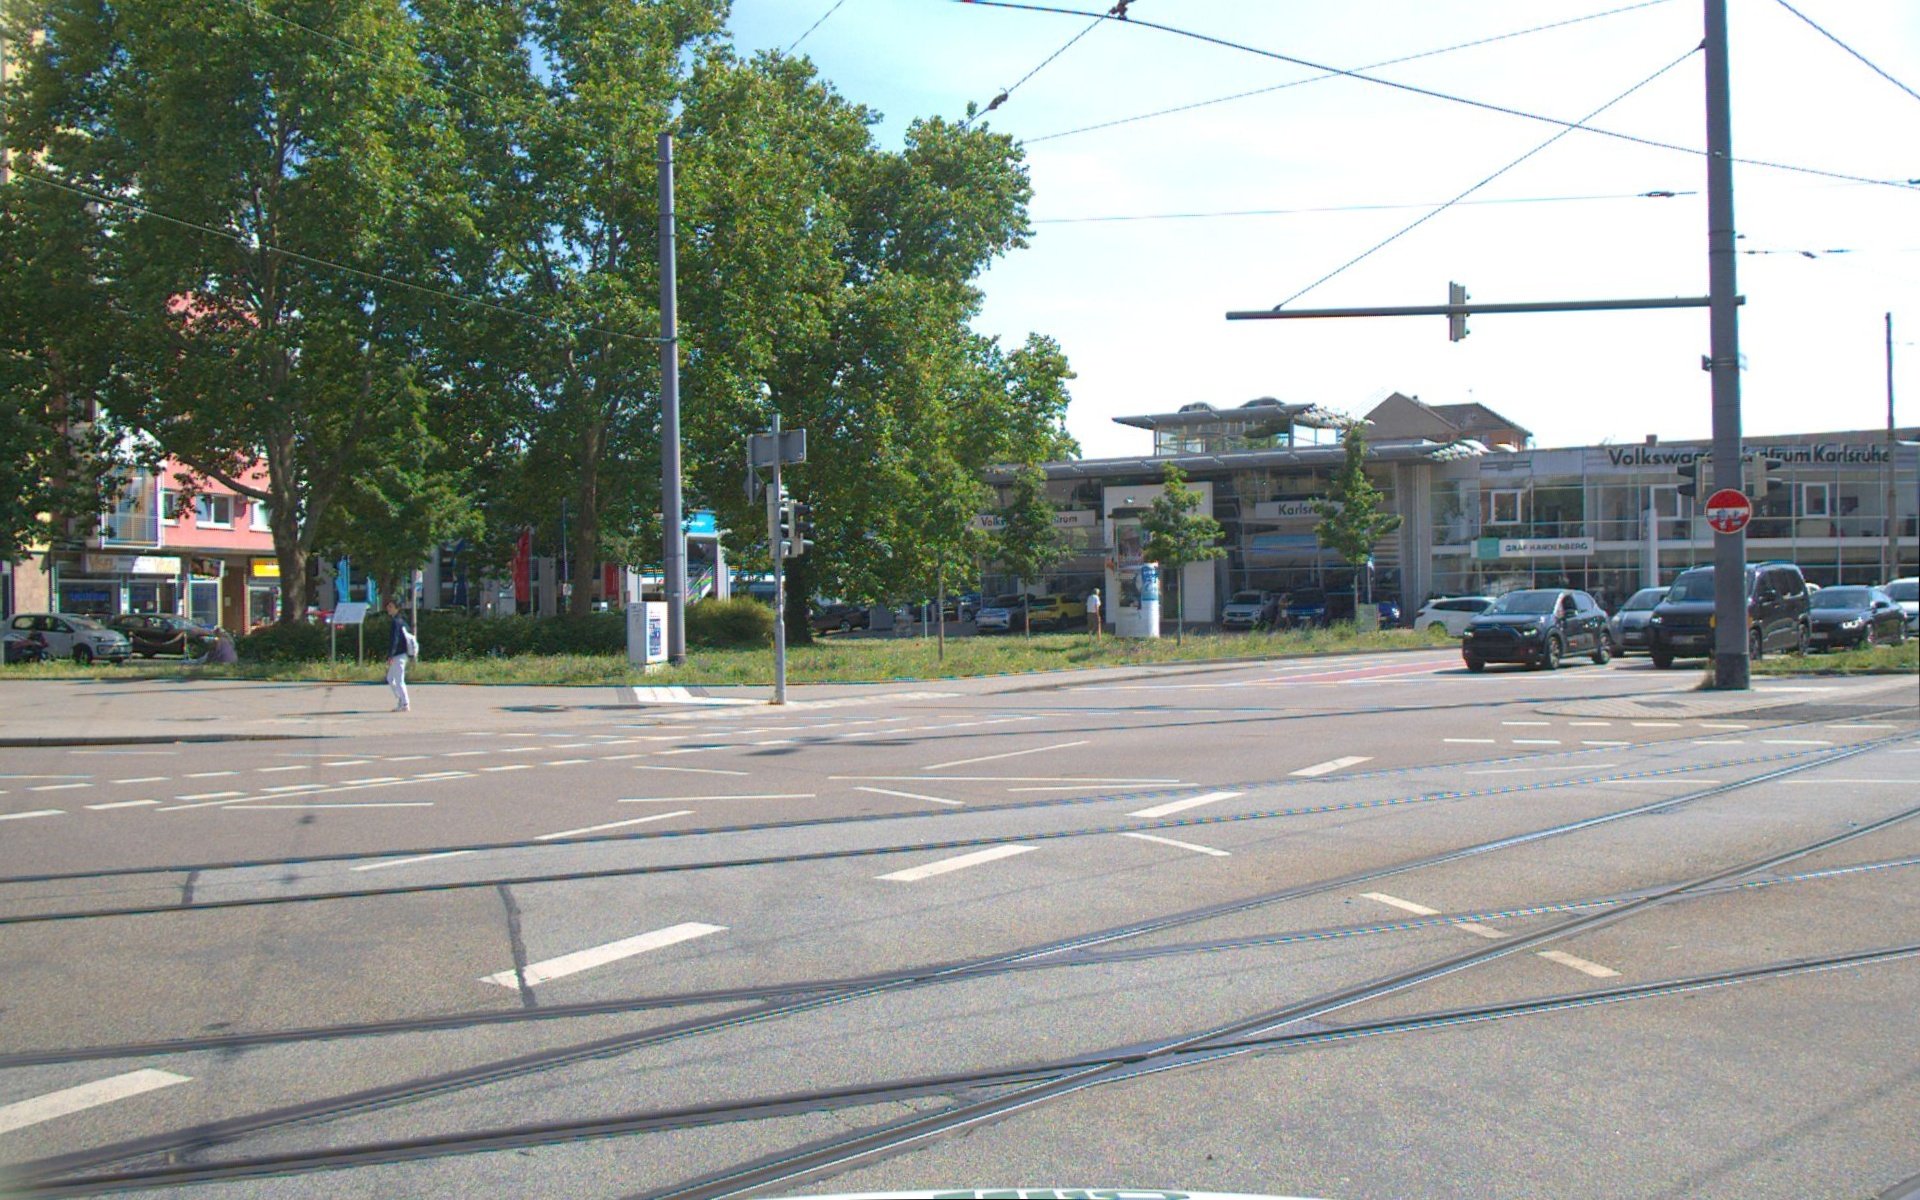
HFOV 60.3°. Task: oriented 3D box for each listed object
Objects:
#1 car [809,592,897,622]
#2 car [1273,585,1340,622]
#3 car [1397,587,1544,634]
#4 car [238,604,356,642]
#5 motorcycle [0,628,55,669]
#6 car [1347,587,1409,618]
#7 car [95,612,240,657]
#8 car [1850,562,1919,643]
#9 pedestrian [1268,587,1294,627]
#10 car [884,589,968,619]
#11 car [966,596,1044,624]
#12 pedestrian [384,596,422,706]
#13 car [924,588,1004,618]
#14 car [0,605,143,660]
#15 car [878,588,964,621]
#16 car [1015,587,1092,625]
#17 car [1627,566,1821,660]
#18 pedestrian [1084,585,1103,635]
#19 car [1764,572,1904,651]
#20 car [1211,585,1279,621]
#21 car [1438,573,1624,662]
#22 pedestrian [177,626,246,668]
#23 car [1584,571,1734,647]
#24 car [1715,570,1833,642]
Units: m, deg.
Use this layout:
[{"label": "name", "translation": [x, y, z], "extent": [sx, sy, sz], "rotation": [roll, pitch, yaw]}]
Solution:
[{"label": "car", "translation": [-5.344, 0.343, 82.807], "extent": [3.909, 1.395, 1.998], "rotation": [1, 1, 26]}, {"label": "car", "translation": [14.889, 0.127, 70.882], "extent": [1.954, 1.512, 3.997], "rotation": [1, 1, 25]}, {"label": "car", "translation": [17.074, 0.330, 55.427], "extent": [4.515, 1.461, 1.436], "rotation": [2, 1, 41]}, {"label": "car", "translation": [-24.430, 0.831, 60.979], "extent": [3.643, 1.363, 1.745], "rotation": [0, 0, 10]}, {"label": "motorcycle", "translation": [-21.315, 1.094, 36.844], "extent": [2.010, 0.856, 0.634], "rotation": [-1, 0, -30]}, {"label": "car", "translation": [17.505, 0.076, 69.109], "extent": [1.794, 1.216, 3.997], "rotation": [2, 1, 25]}, {"label": "car", "translation": [-25.383, 1.089, 53.014], "extent": [3.902, 1.292, 1.745], "rotation": [1, 0, 10]}, {"label": "car", "translation": [24.028, 0.086, 41.641], "extent": [1.867, 1.950, 4.173], "rotation": [-1, -1, 43]}, {"label": "pedestrian", "translation": [13.254, 0.284, 68.197], "extent": [0.934, 1.607, 0.534], "rotation": [1, 0, 23]}, {"label": "car", "translation": [-1.793, 0.209, 87.405], "extent": [3.908, 1.534, 1.999], "rotation": [-1, 0, 25]}, {"label": "car", "translation": [2.150, 0.448, 77.916], "extent": [1.957, 1.266, 3.991], "rotation": [1, 1, 31]}, {"label": "pedestrian", "translation": [-8.330, 0.757, 24.730], "extent": [0.444, 1.633, 0.399], "rotation": [1, 0, -10]}, {"label": "car", "translation": [0.217, 0.181, 89.710], "extent": [3.908, 1.534, 1.999], "rotation": [-1, 0, 25]}, {"label": "car", "translation": [-26.401, 0.935, 48.595], "extent": [3.902, 1.465, 1.892], "rotation": [1, 0, 10]}, {"label": "car", "translation": [-2.006, 0.226, 84.516], "extent": [3.908, 1.579, 1.999], "rotation": [-1, 0, 25]}, {"label": "car", "translation": [4.385, 0.277, 77.218], "extent": [1.957, 1.713, 3.991], "rotation": [1, 0, 31]}, {"label": "car", "translation": [14.394, 0.204, 31.017], "extent": [1.933, 1.615, 4.685], "rotation": [-1, 0, 43]}, {"label": "pedestrian", "translation": [4.385, 0.315, 54.214], "extent": [0.459, 1.623, 0.388], "rotation": [1, 0, -40]}, {"label": "car", "translation": [19.052, 0.260, 35.983], "extent": [1.865, 1.615, 3.978], "rotation": [-1, -1, 40]}, {"label": "car", "translation": [12.469, 0.121, 72.149], "extent": [1.954, 1.512, 3.997], "rotation": [1, 1, 25]}, {"label": "car", "translation": [11.099, 0.347, 32.012], "extent": [1.865, 1.615, 4.182], "rotation": [-1, -1, 43]}, {"label": "pedestrian", "translation": [-17.007, 1.064, 37.586], "extent": [1.147, 0.908, 0.823], "rotation": [-1, 0, 7]}, {"label": "car", "translation": [15.780, 0.222, 37.260], "extent": [1.868, 1.615, 3.974], "rotation": [-1, -1, 43]}, {"label": "car", "translation": [21.080, 0.163, 42.767], "extent": [1.628, 1.769, 4.173], "rotation": [-1, -1, 43]}]
